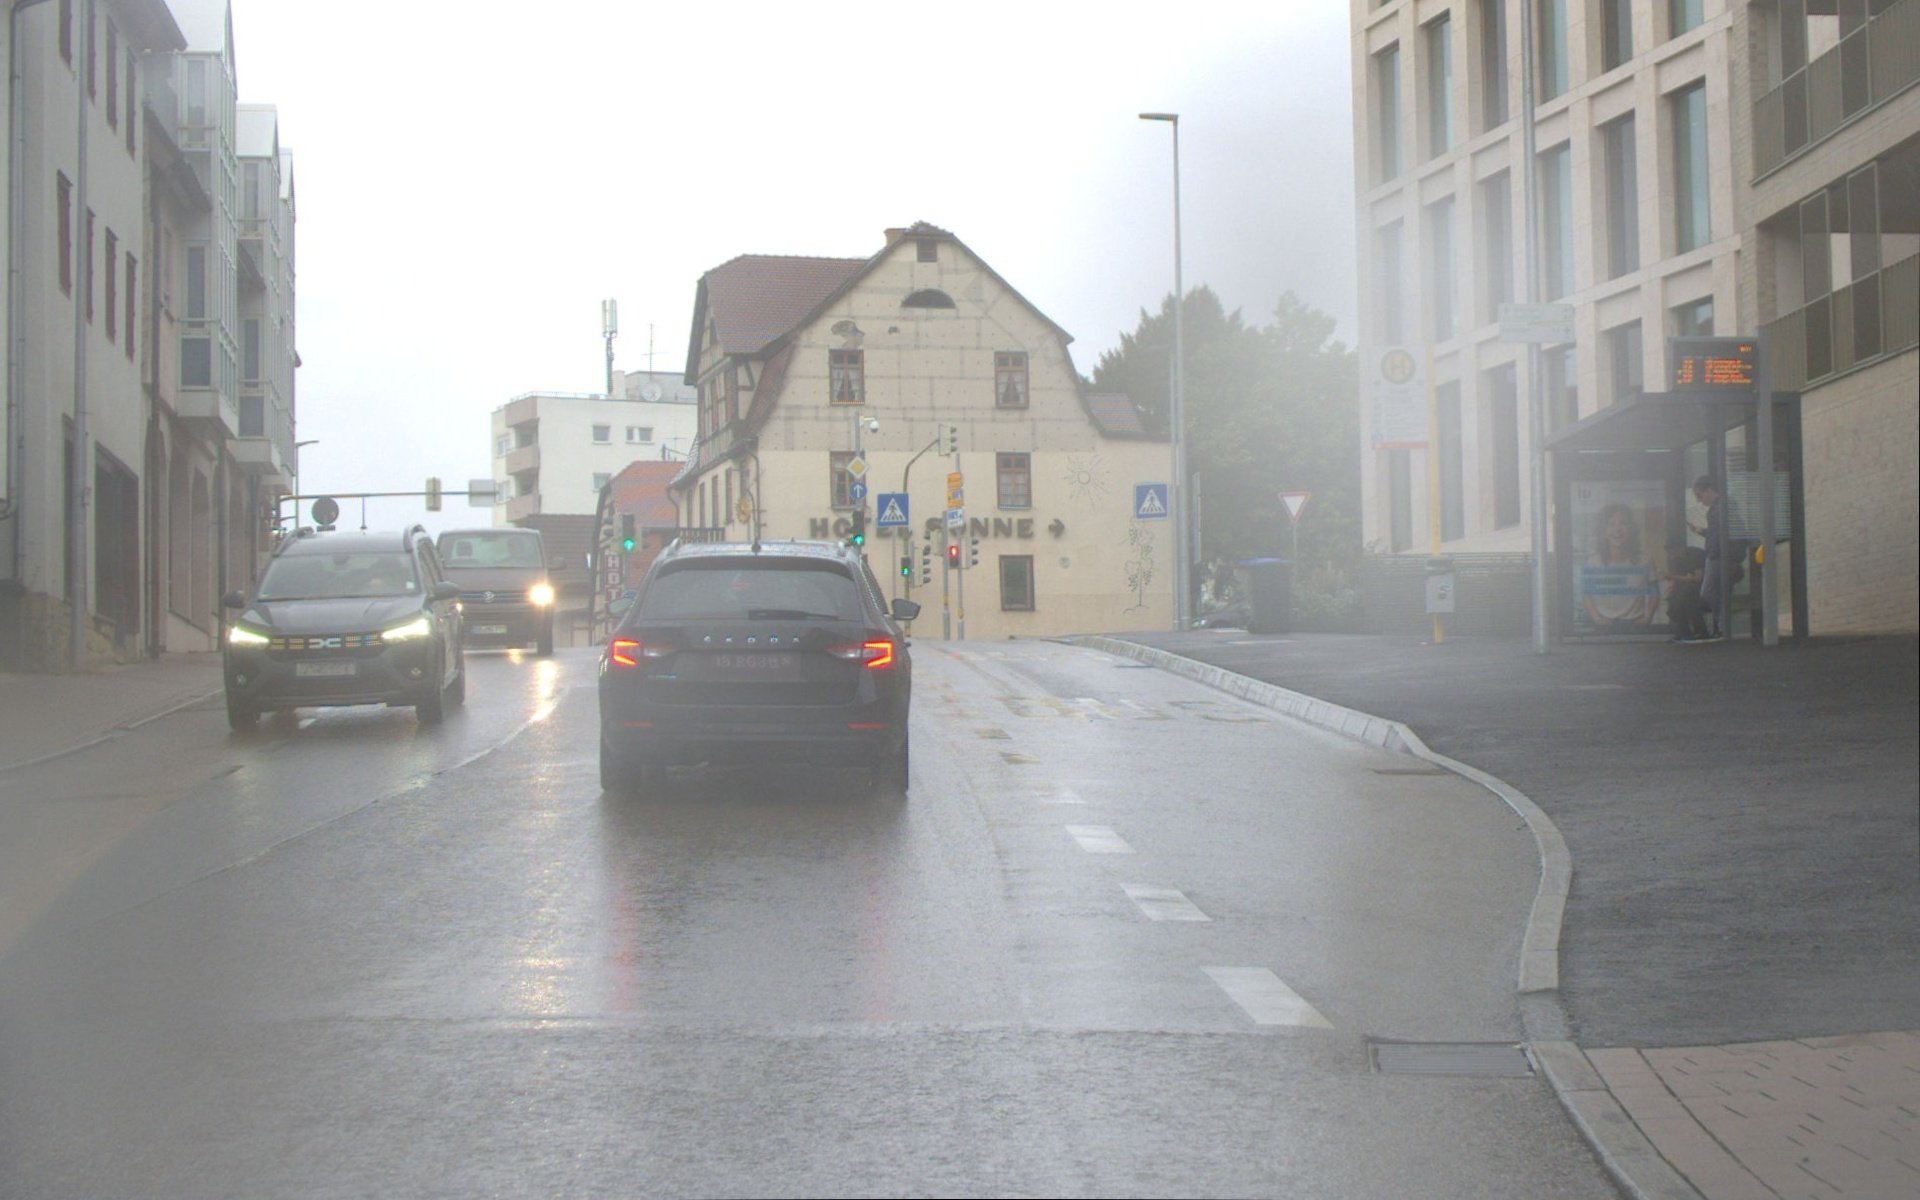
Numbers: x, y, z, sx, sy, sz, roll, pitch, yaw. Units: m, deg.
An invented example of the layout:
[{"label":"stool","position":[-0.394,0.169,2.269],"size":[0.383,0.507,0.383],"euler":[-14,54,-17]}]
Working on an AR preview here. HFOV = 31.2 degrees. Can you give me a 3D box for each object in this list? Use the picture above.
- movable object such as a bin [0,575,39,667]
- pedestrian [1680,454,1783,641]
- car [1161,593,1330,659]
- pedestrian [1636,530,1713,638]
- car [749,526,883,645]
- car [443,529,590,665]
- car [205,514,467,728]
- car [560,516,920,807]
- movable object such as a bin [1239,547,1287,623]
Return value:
[{"label":"movable object such as a bin","position":[-10.416,0.227,37.717],"size":[0.508,1.003,0.585],"euler":[0,1,-5]},{"label":"pedestrian","position":[8.244,-0.559,36.780],"size":[0.782,1.933,1.021],"euler":[-2,1,-1]},{"label":"car","position":[8.014,0.731,96.605],"size":[4.300,1.500,1.778],"euler":[-3,-4,-17]},{"label":"pedestrian","position":[7.926,-0.183,38.155],"size":[0.672,1.158,0.635],"euler":[-2,1,-1]},{"label":"car","position":[-1.957,-0.210,45.964],"size":[1.677,1.505,3.589],"euler":[-1,1,-4]},{"label":"car","position":[-6.692,-0.081,52.301],"size":[1.931,1.901,5.044],"euler":[-2,1,-5]},{"label":"car","position":[-5.325,0.130,29.828],"size":[1.782,1.688,4.460],"euler":[-1,1,-5]},{"label":"car","position":[-1.350,0.300,20.973],"size":[1.944,1.561,4.418],"euler":[-1,1,-4]},{"label":"movable object such as a bin","position":[4.326,-0.217,49.145],"size":[0.595,1.058,0.579],"euler":[-1,1,-2]}]
